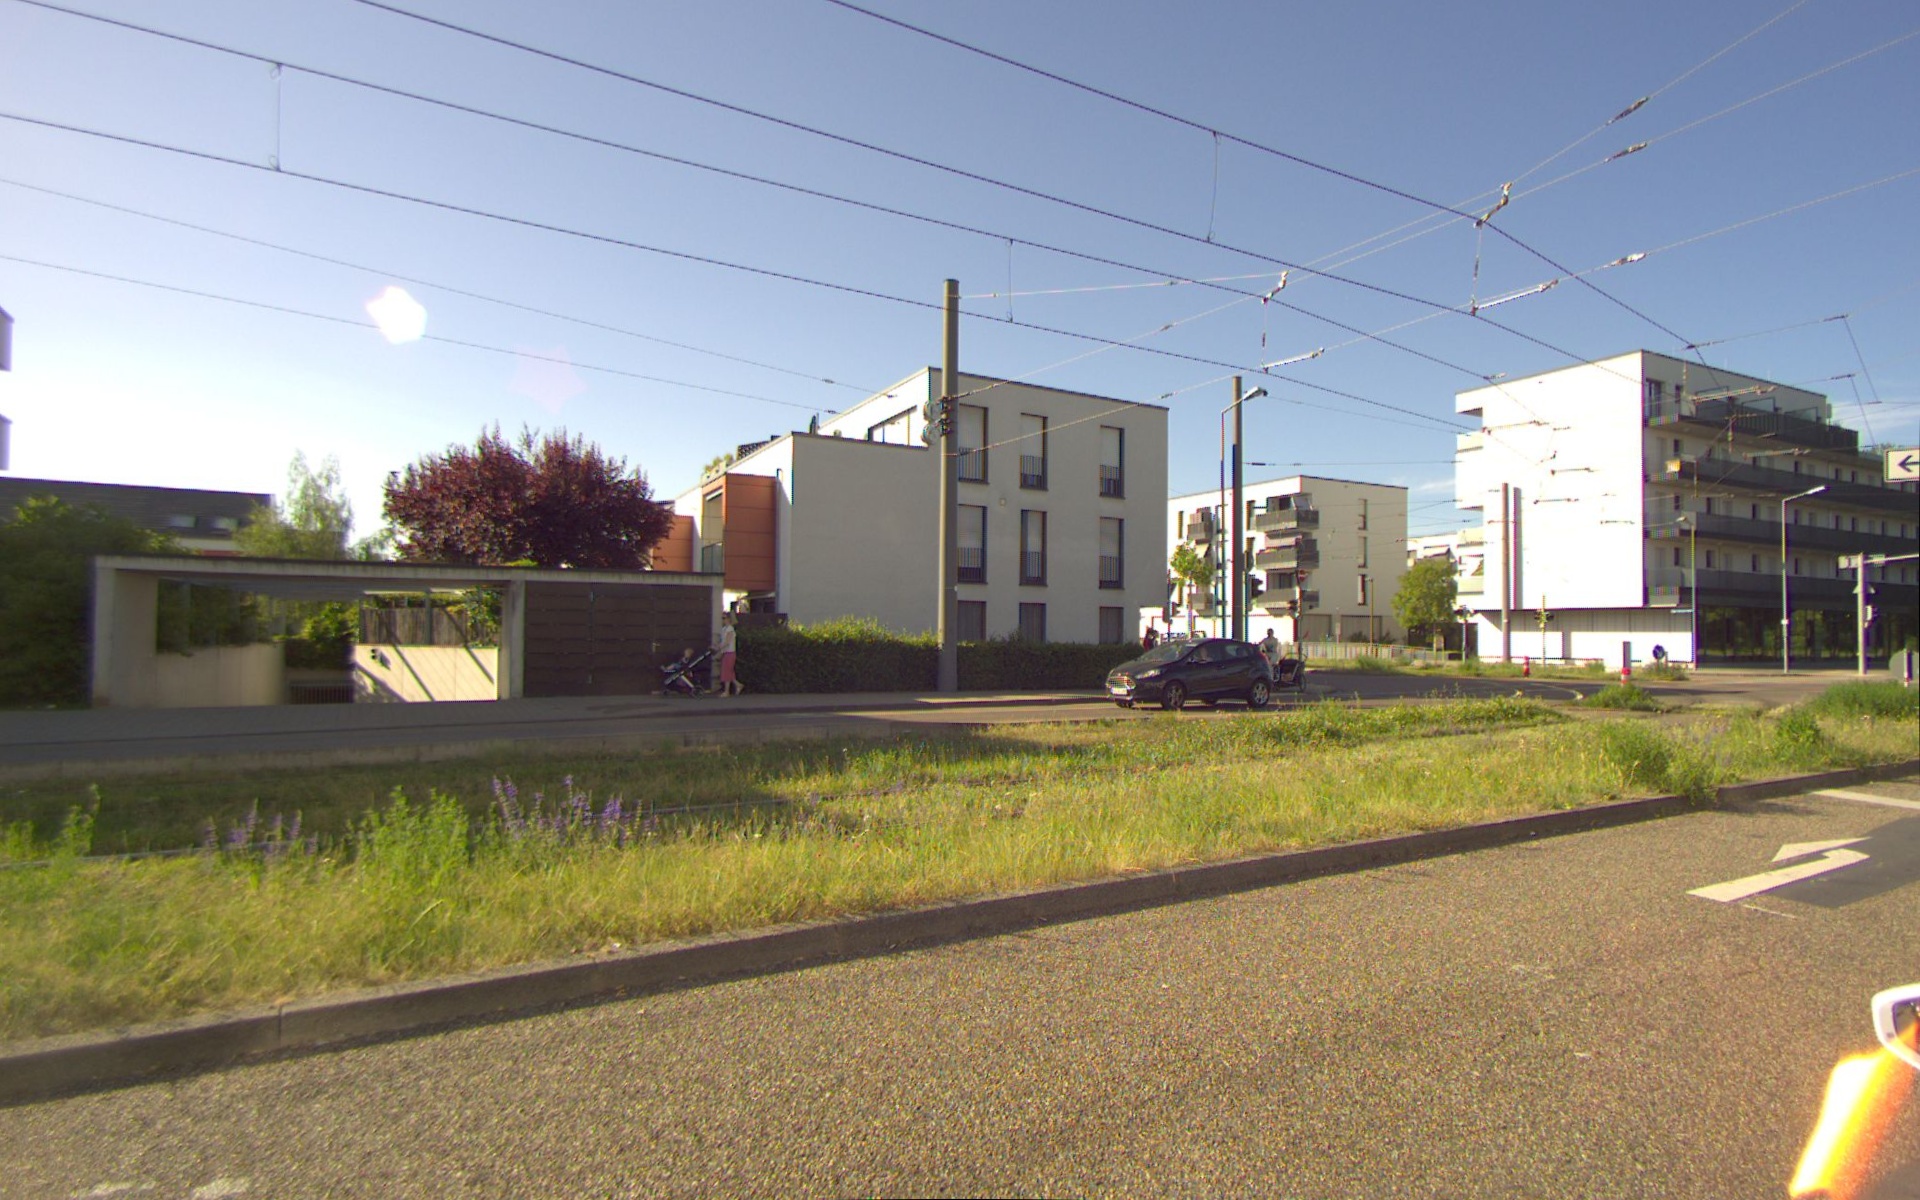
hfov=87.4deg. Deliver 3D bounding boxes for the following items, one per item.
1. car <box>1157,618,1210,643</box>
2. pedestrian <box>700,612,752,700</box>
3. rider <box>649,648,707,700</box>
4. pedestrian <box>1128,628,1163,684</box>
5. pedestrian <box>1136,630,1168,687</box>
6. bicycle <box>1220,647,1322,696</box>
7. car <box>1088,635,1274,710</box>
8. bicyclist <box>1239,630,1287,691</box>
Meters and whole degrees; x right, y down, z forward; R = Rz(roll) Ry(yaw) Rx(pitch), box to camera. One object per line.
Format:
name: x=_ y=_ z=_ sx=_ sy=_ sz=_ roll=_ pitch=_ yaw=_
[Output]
car: x=17.767 y=2.445 z=80.080 sx=1.977 sy=1.862 sz=3.967 roll=1 pitch=0 yaw=-31
pedestrian: x=-4.890 y=1.151 z=20.986 sx=0.897 sy=1.771 sz=0.813 roll=1 pitch=0 yaw=-24
rider: x=-5.784 y=1.501 z=20.603 sx=1.031 sy=1.016 sz=0.775 roll=1 pitch=0 yaw=-25
pedestrian: x=5.106 y=1.530 z=27.622 sx=0.733 sy=1.483 sz=0.555 roll=1 pitch=0 yaw=-28
pedestrian: x=5.162 y=1.568 z=27.008 sx=0.605 sy=1.483 sz=0.554 roll=1 pitch=0 yaw=-33
bicycle: x=8.866 y=1.983 z=28.490 sx=3.667 sy=1.190 sz=0.987 roll=1 pitch=1 yaw=-42
car: x=4.704 y=1.495 z=21.271 sx=3.697 sy=1.449 sz=1.695 roll=1 pitch=-3 yaw=-31
bicyclist: x=8.512 y=1.672 z=28.212 sx=0.905 sy=1.651 sz=0.964 roll=1 pitch=0 yaw=-41
